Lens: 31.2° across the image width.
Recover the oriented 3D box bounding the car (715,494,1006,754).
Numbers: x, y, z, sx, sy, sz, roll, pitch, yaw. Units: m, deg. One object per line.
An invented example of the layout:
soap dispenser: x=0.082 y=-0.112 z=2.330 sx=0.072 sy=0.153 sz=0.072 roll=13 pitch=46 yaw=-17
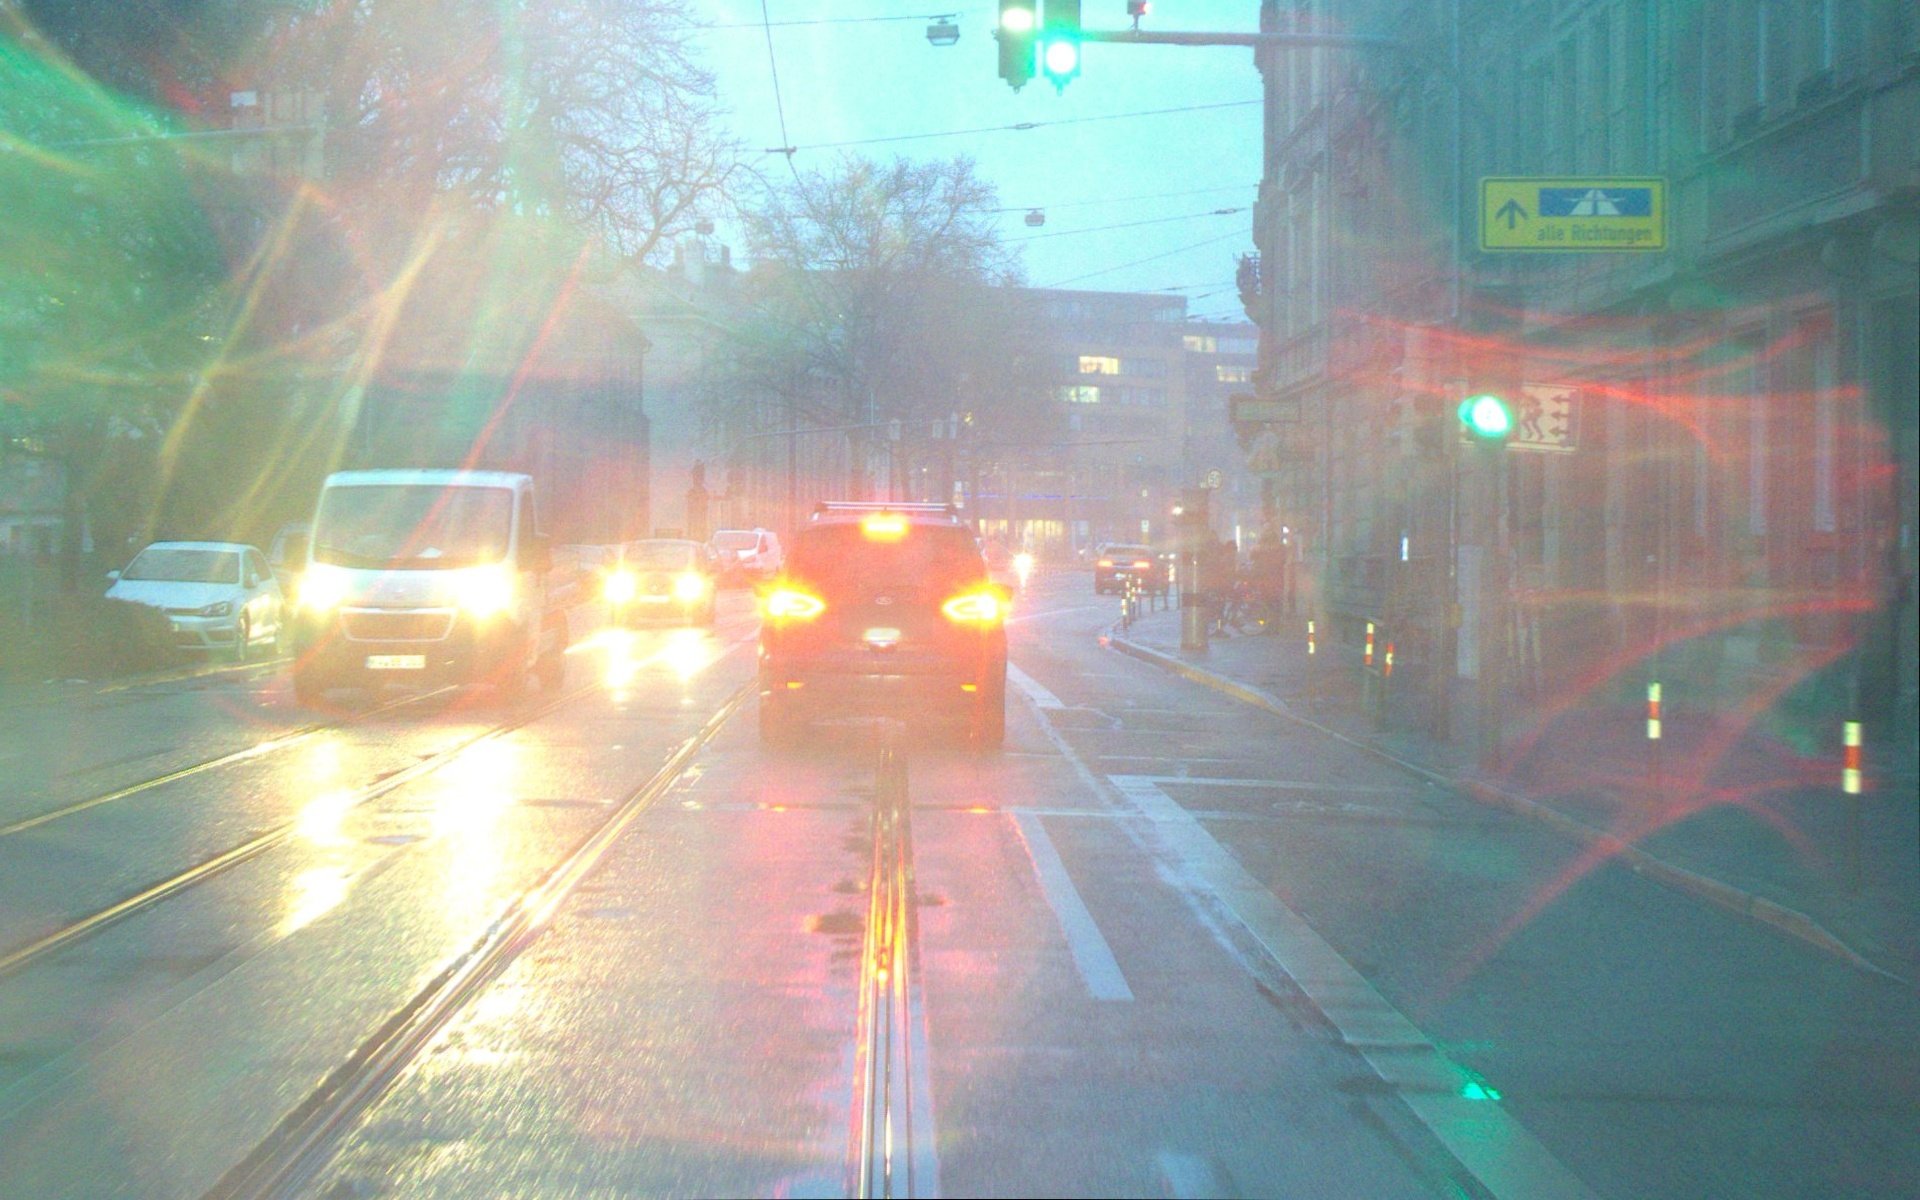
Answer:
car: x=-0.690 y=0.142 z=26.659 sx=1.993 sy=1.835 sz=4.000 roll=1 pitch=1 yaw=2

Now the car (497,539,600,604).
car: x=-10.687 y=-0.751 z=89.652 sx=1.984 sy=1.610 sz=4.429 roll=1 pitch=0 yaw=2

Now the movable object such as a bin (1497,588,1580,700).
movable object such as a bin: x=5.543 y=0.417 z=32.964 sx=0.640 sy=1.051 sz=0.744 roll=1 pitch=0 yaw=-1

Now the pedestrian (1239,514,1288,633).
pedestrian: x=5.035 y=-0.433 z=57.046 sx=0.715 sy=1.946 sz=0.657 roll=1 pitch=0 yaw=-1

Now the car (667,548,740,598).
car: x=-8.578 y=-0.913 z=115.461 sx=1.984 sy=1.610 sz=4.429 roll=1 pitch=0 yaw=1

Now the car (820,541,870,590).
car: x=-4.825 y=-1.451 z=144.203 sx=1.993 sy=2.007 sz=4.000 roll=1 pitch=0 yaw=-1

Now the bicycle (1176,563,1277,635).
bicycle: x=4.393 y=-0.031 z=56.836 sx=0.792 sy=1.140 sz=2.244 roll=1 pitch=0 yaw=-20

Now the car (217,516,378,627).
car: x=-10.203 y=-0.447 z=53.212 sx=1.983 sy=1.610 sz=4.430 roll=1 pitch=0 yaw=-5

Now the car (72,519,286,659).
car: x=-9.651 y=-0.150 z=42.800 sx=1.983 sy=1.610 sz=4.430 roll=1 pitch=0 yaw=-5

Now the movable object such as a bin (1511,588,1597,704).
movable object such as a bin: x=5.558 y=0.423 z=32.195 sx=0.640 sy=1.051 sz=0.744 roll=1 pitch=0 yaw=-1

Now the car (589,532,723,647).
car: x=-5.558 y=-0.201 z=63.287 sx=1.993 sy=2.007 sz=4.000 roll=1 pitch=0 yaw=1

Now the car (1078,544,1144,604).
car: x=4.798 y=-0.832 z=109.574 sx=1.993 sy=1.835 sz=4.000 roll=1 pitch=1 yaw=2

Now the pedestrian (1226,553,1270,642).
pedestrian: x=5.825 y=-0.058 z=69.555 sx=0.771 sy=1.769 sz=0.685 roll=1 pitch=0 yaw=-1

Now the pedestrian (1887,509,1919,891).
pedestrian: x=4.730 y=0.447 z=15.638 sx=0.835 sy=1.695 sz=0.953 roll=1 pitch=0 yaw=8

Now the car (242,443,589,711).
car: x=-5.068 y=-0.226 z=32.938 sx=2.446 sy=2.339 sz=5.845 roll=0 pitch=0 yaw=-1
